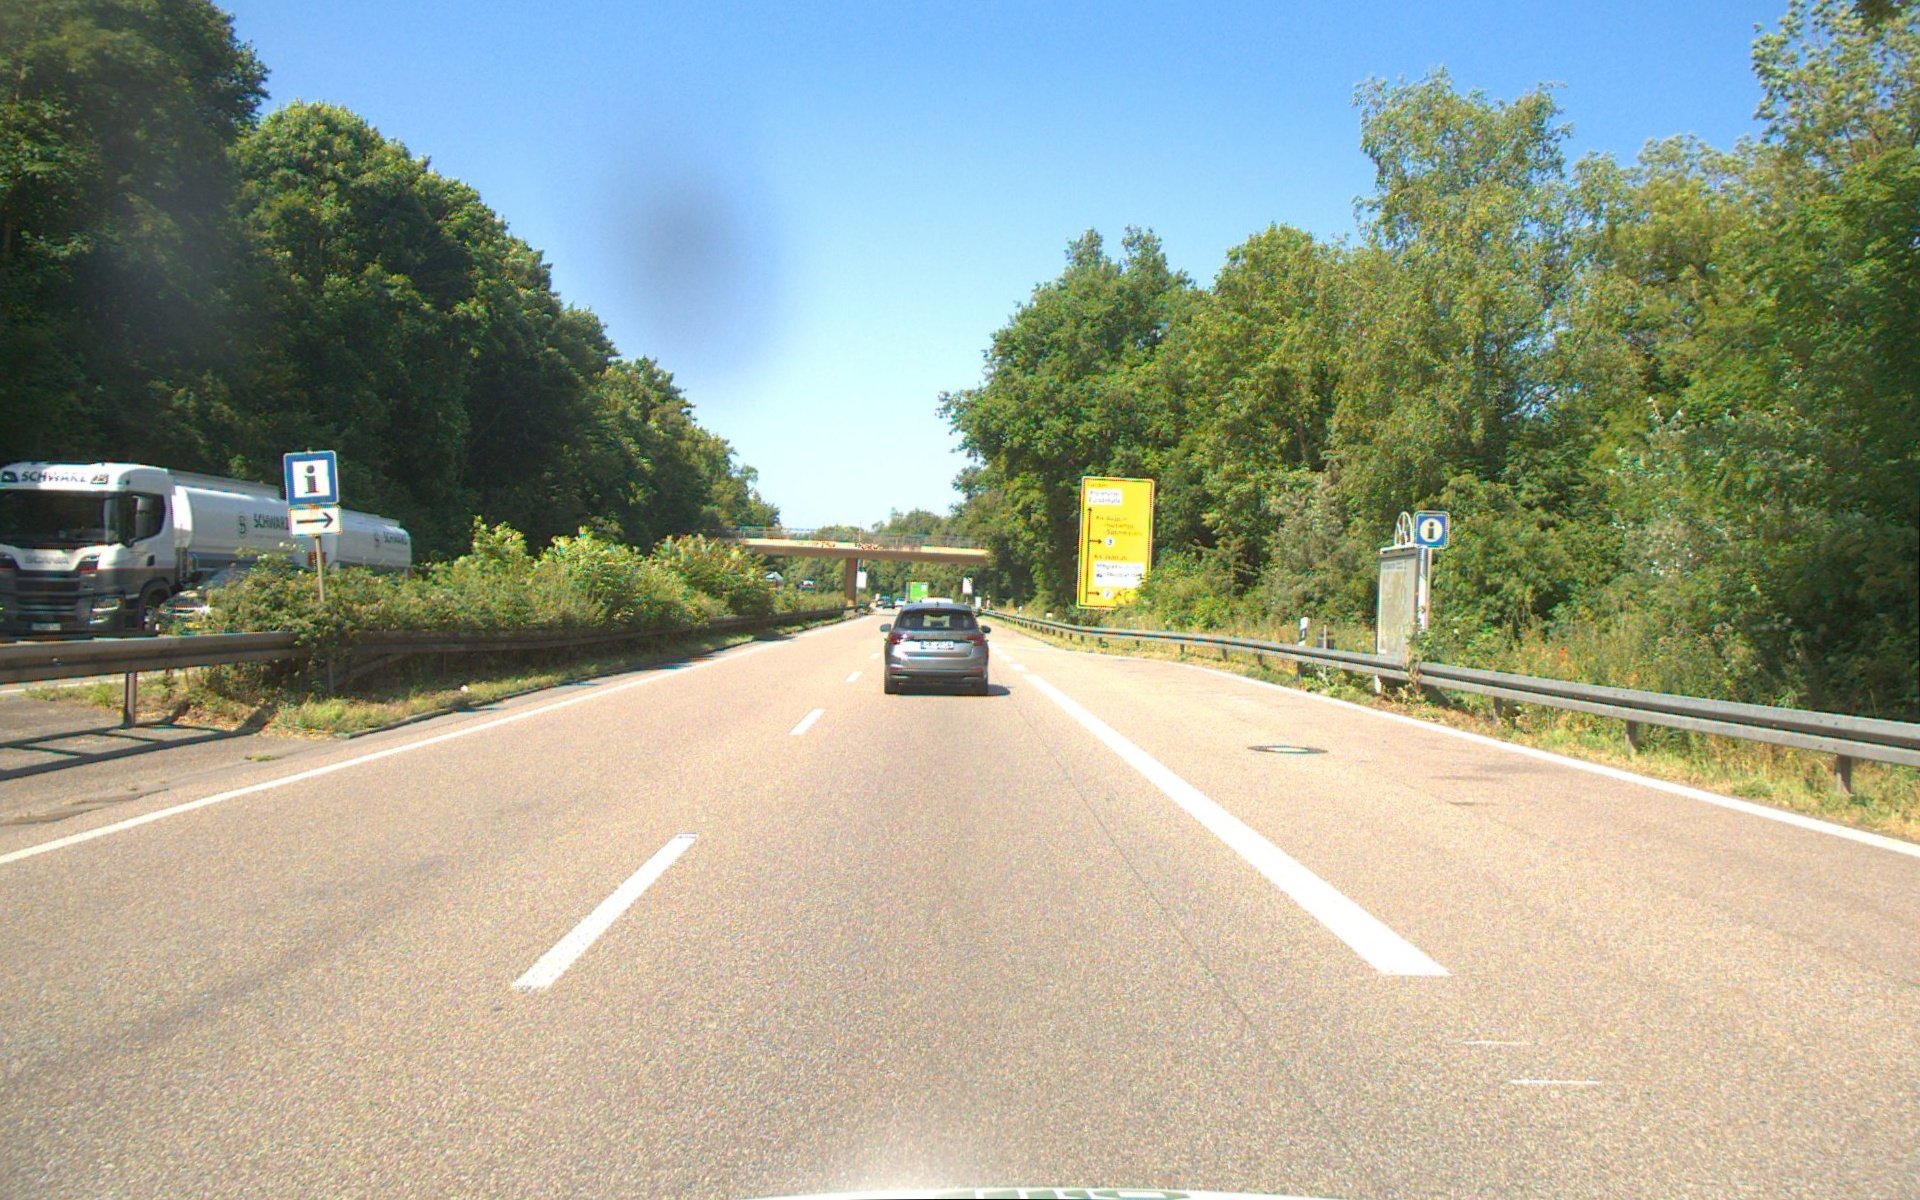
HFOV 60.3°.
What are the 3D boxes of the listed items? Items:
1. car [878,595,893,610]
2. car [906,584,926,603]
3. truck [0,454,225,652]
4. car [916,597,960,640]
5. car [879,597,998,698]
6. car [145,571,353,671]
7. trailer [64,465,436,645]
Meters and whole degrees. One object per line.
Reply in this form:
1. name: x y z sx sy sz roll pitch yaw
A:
1. car: -10.689 0.314 237.531 1.953 2.049 3.999 1 0 -1
2. car: -6.395 -0.965 240.180 2.693 2.700 3.999 1 0 -1
3. truck: -15.470 -0.792 30.064 2.376 3.315 3.999 1 0 -1
4. car: -0.787 0.641 60.145 1.491 1.472 3.340 1 0 1
5. car: -0.306 0.724 27.270 1.802 1.497 3.624 1 0 1
6. car: -11.807 0.328 27.765 1.688 1.506 4.243 1 0 -1
7. trailer: -15.531 -0.828 38.084 2.442 3.292 14.429 1 0 -1
